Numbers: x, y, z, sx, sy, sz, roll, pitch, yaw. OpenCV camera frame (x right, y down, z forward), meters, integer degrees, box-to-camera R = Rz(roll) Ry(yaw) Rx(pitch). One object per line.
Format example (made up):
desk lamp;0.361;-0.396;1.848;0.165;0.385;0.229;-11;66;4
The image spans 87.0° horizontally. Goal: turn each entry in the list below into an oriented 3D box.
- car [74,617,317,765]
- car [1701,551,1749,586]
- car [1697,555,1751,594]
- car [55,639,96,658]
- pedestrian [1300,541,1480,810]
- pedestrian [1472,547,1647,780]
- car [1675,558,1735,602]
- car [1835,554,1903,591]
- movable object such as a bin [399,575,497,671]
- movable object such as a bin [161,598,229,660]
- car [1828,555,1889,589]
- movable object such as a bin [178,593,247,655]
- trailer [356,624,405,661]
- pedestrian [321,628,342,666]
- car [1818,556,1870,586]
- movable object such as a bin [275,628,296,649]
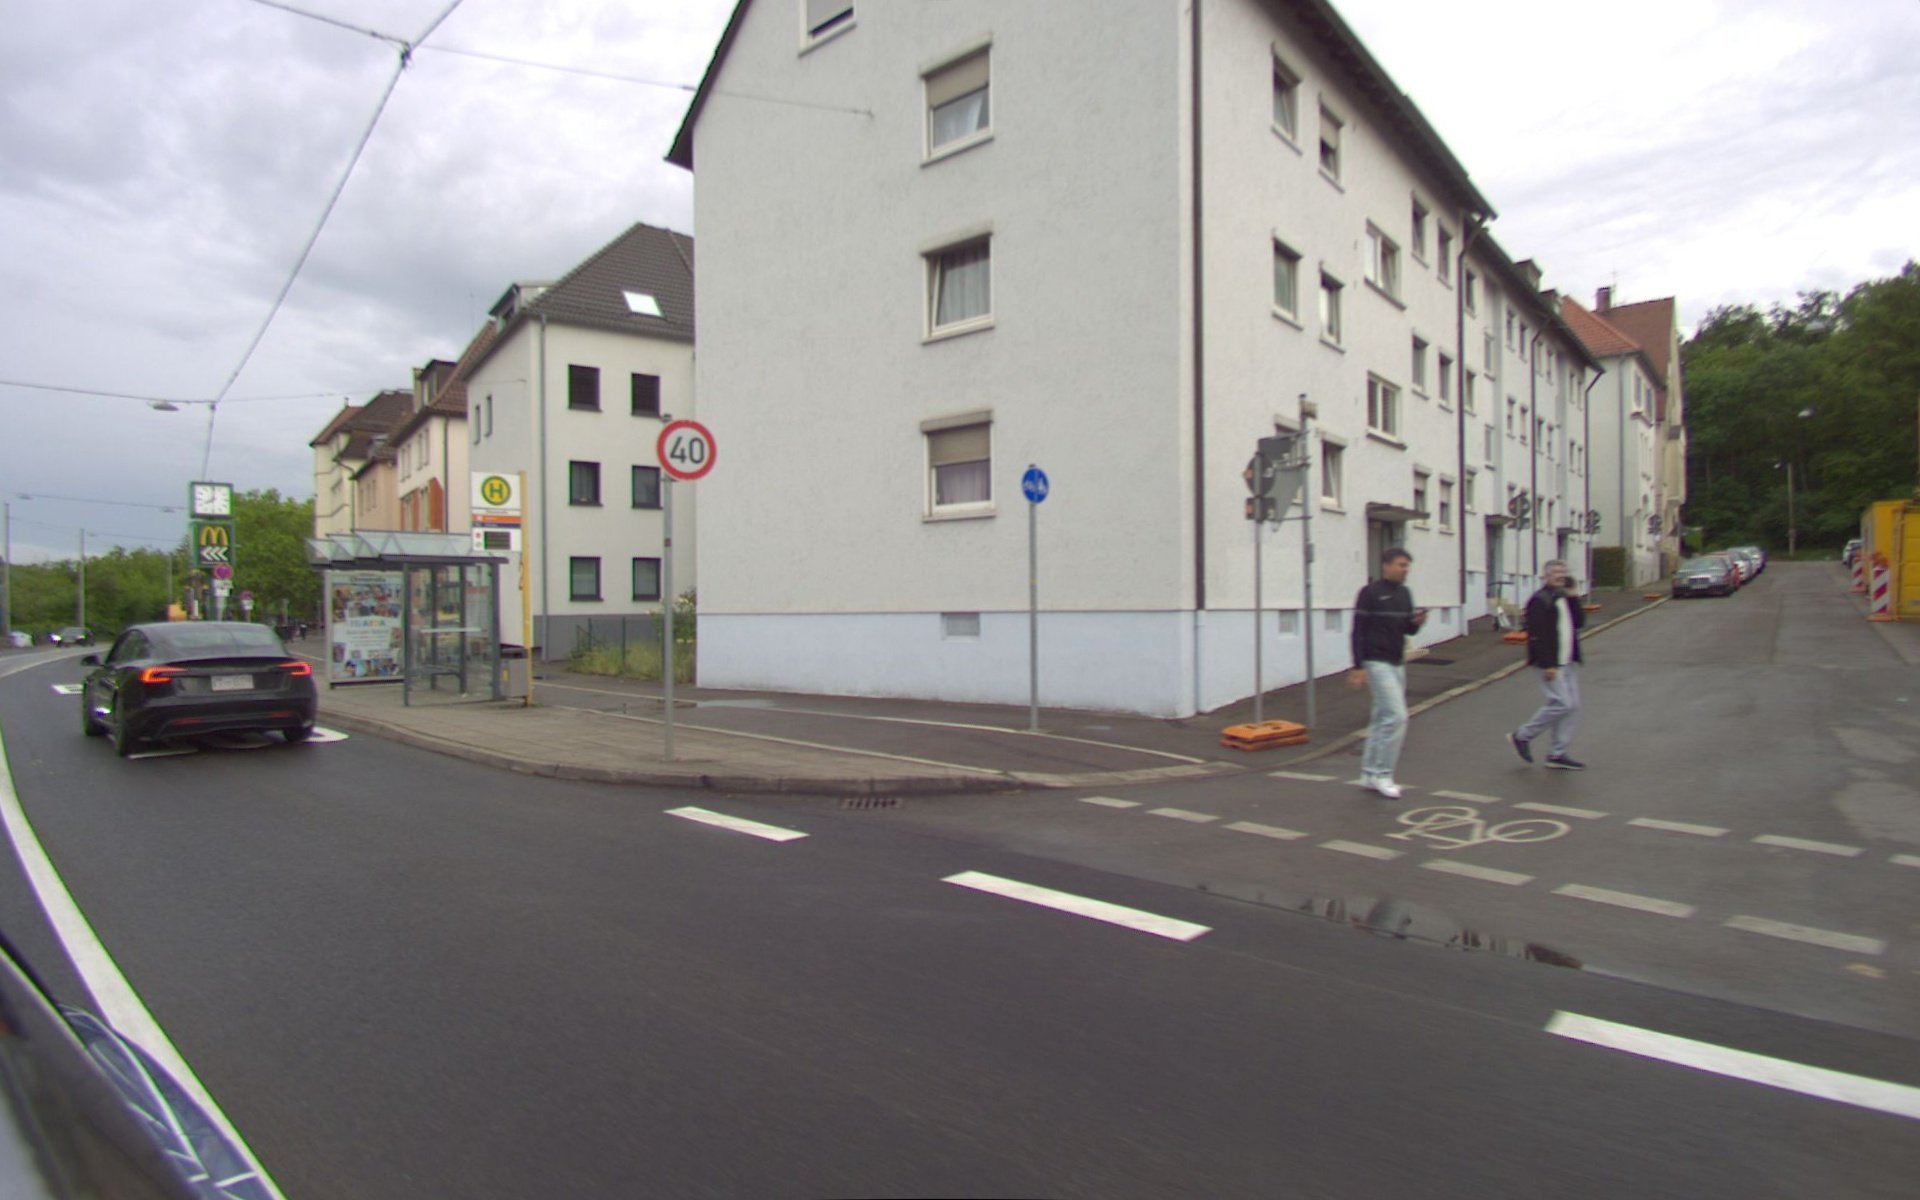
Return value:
car;-9.460;0.972;12.370;4.391;1.463;1.763;-2;-1;45
car;34.559;-1.455;45.669;1.627;1.419;3.359;-3;1;38
car;31.007;-1.063;41.027;1.627;1.419;3.359;-3;1;38
car;-63.902;3.486;73.145;1.580;1.312;3.723;-2;-1;-31
pedestrian;3.318;0.545;7.811;1.043;1.897;0.853;-2;-2;39
pedestrian;5.117;0.511;8.648;1.115;1.835;0.797;-3;-1;41
car;27.016;-0.739;36.684;1.626;1.419;3.359;-3;1;38
car;33.715;-1.029;37.595;1.627;1.222;3.359;-3;1;38
movable object such as a bin;-16.849;0.755;33.165;2.101;2.828;4.991;-3;0;-35
movable object such as a bin;-40.899;1.539;54.189;2.787;3.136;4.644;0;-2;-36
car;36.513;-1.139;41.178;1.627;1.222;3.359;-3;1;38
movable object such as a bin;-50.006;1.596;67.897;2.907;3.873;8.150;-1;-1;-31
trailer;-24.290;1.762;42.331;1.306;1.409;4.005;-1;-1;-36
pedestrian;-26.524;1.983;42.713;0.595;1.540;1.040;-2;-1;-39
car;41.446;-1.383;47.505;1.627;1.222;3.359;-3;1;38
movable object such as a bin;-45.197;2.575;67.836;1.141;1.312;1.251;0;-1;-31
